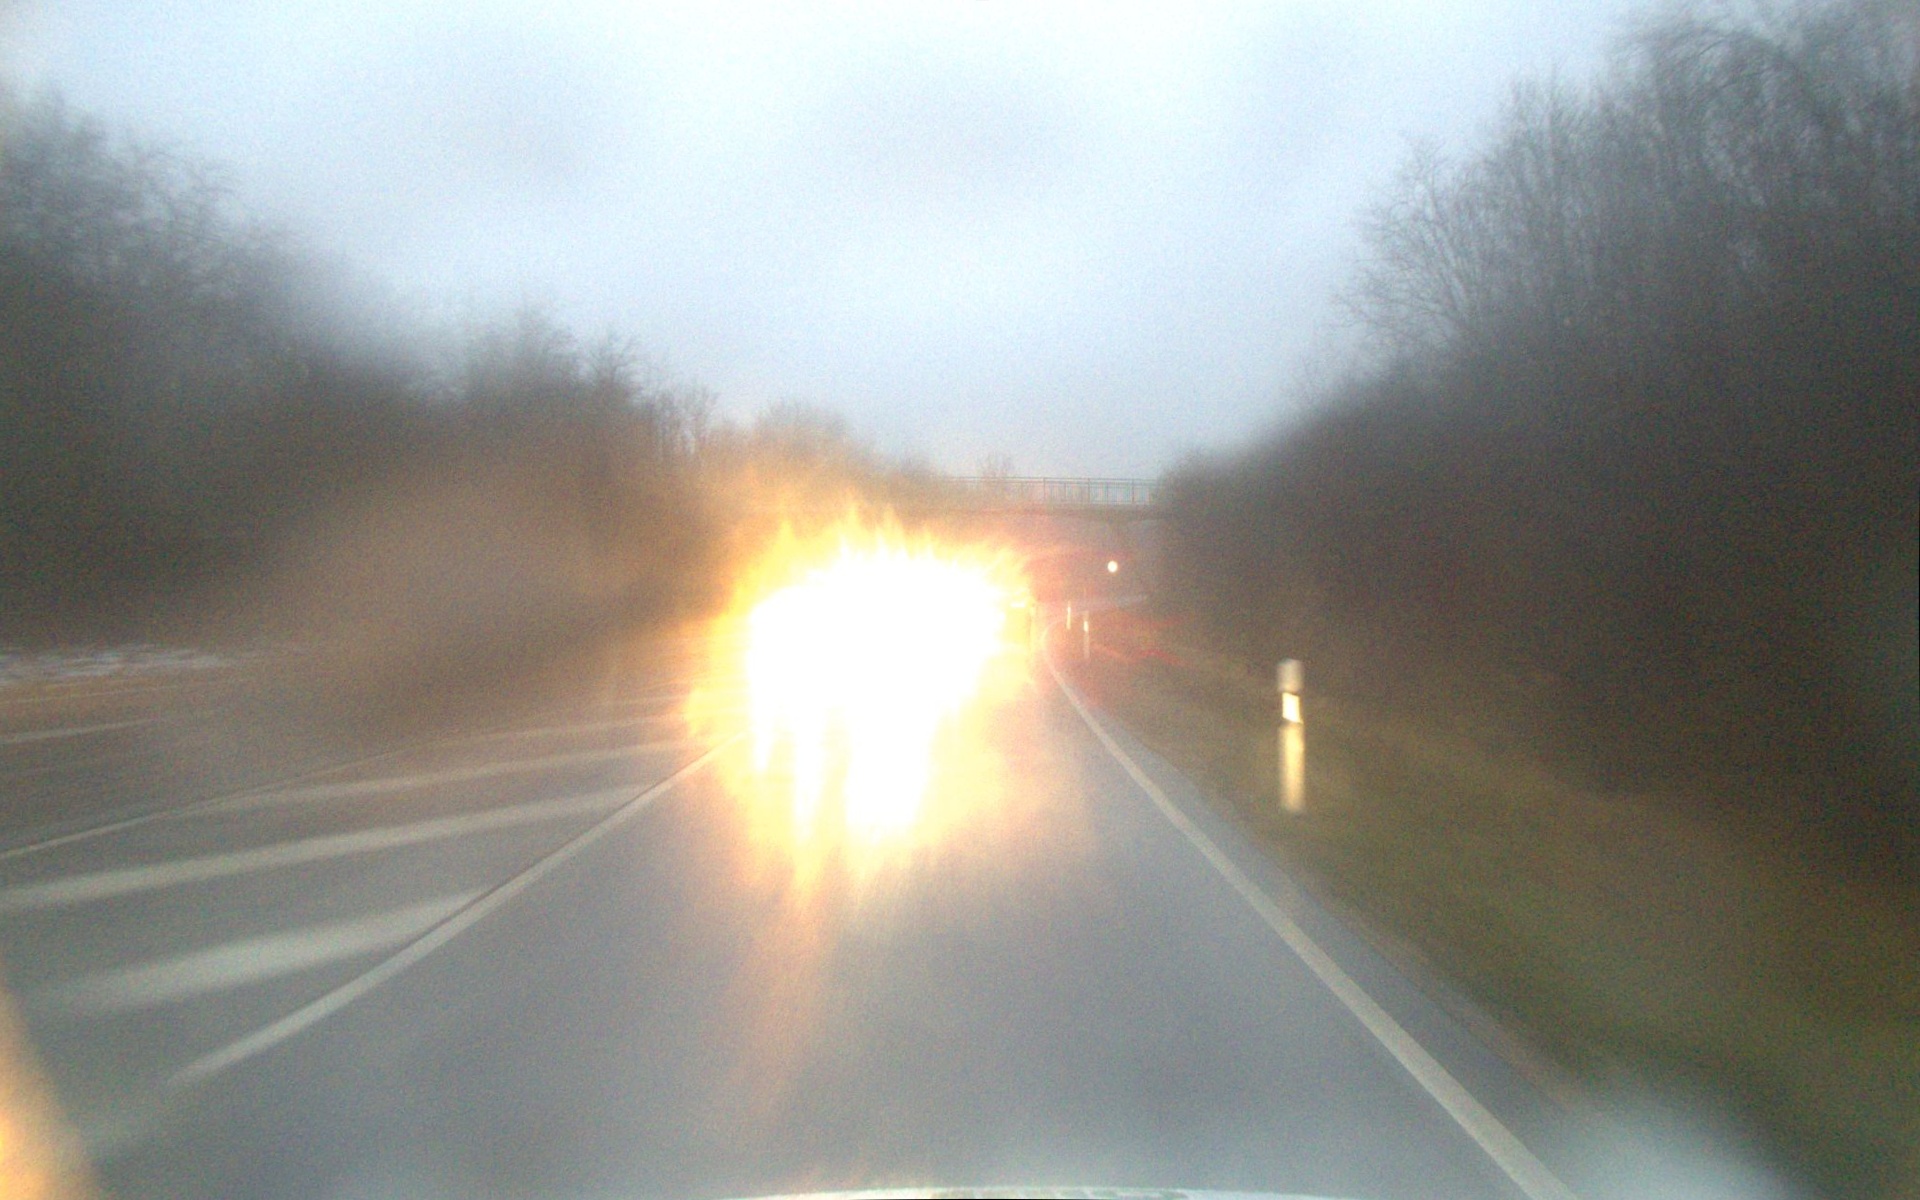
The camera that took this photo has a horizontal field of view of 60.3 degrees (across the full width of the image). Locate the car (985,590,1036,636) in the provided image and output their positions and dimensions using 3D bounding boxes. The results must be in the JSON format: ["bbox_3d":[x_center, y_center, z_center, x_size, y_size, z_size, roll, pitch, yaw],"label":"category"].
[{"bbox_3d":[2.031,0.484,65.514,1.643,1.704,4.101,-1,0,7],"label":"car"}]

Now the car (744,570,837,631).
[{"bbox_3d":[-4.691,-0.020,46.305,1.785,1.550,4.302,-1,1,5],"label":"car"}]

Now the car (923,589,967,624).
[{"bbox_3d":[-0.740,0.332,83.932,1.821,1.676,4.470,0,0,5],"label":"car"}]

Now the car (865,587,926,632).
[{"bbox_3d":[-2.513,0.357,65.569,1.862,1.677,4.730,0,1,4],"label":"car"}]

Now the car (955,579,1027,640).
[{"bbox_3d":[0.814,0.198,41.051,1.643,1.414,4.100,-1,0,3],"label":"car"}]
